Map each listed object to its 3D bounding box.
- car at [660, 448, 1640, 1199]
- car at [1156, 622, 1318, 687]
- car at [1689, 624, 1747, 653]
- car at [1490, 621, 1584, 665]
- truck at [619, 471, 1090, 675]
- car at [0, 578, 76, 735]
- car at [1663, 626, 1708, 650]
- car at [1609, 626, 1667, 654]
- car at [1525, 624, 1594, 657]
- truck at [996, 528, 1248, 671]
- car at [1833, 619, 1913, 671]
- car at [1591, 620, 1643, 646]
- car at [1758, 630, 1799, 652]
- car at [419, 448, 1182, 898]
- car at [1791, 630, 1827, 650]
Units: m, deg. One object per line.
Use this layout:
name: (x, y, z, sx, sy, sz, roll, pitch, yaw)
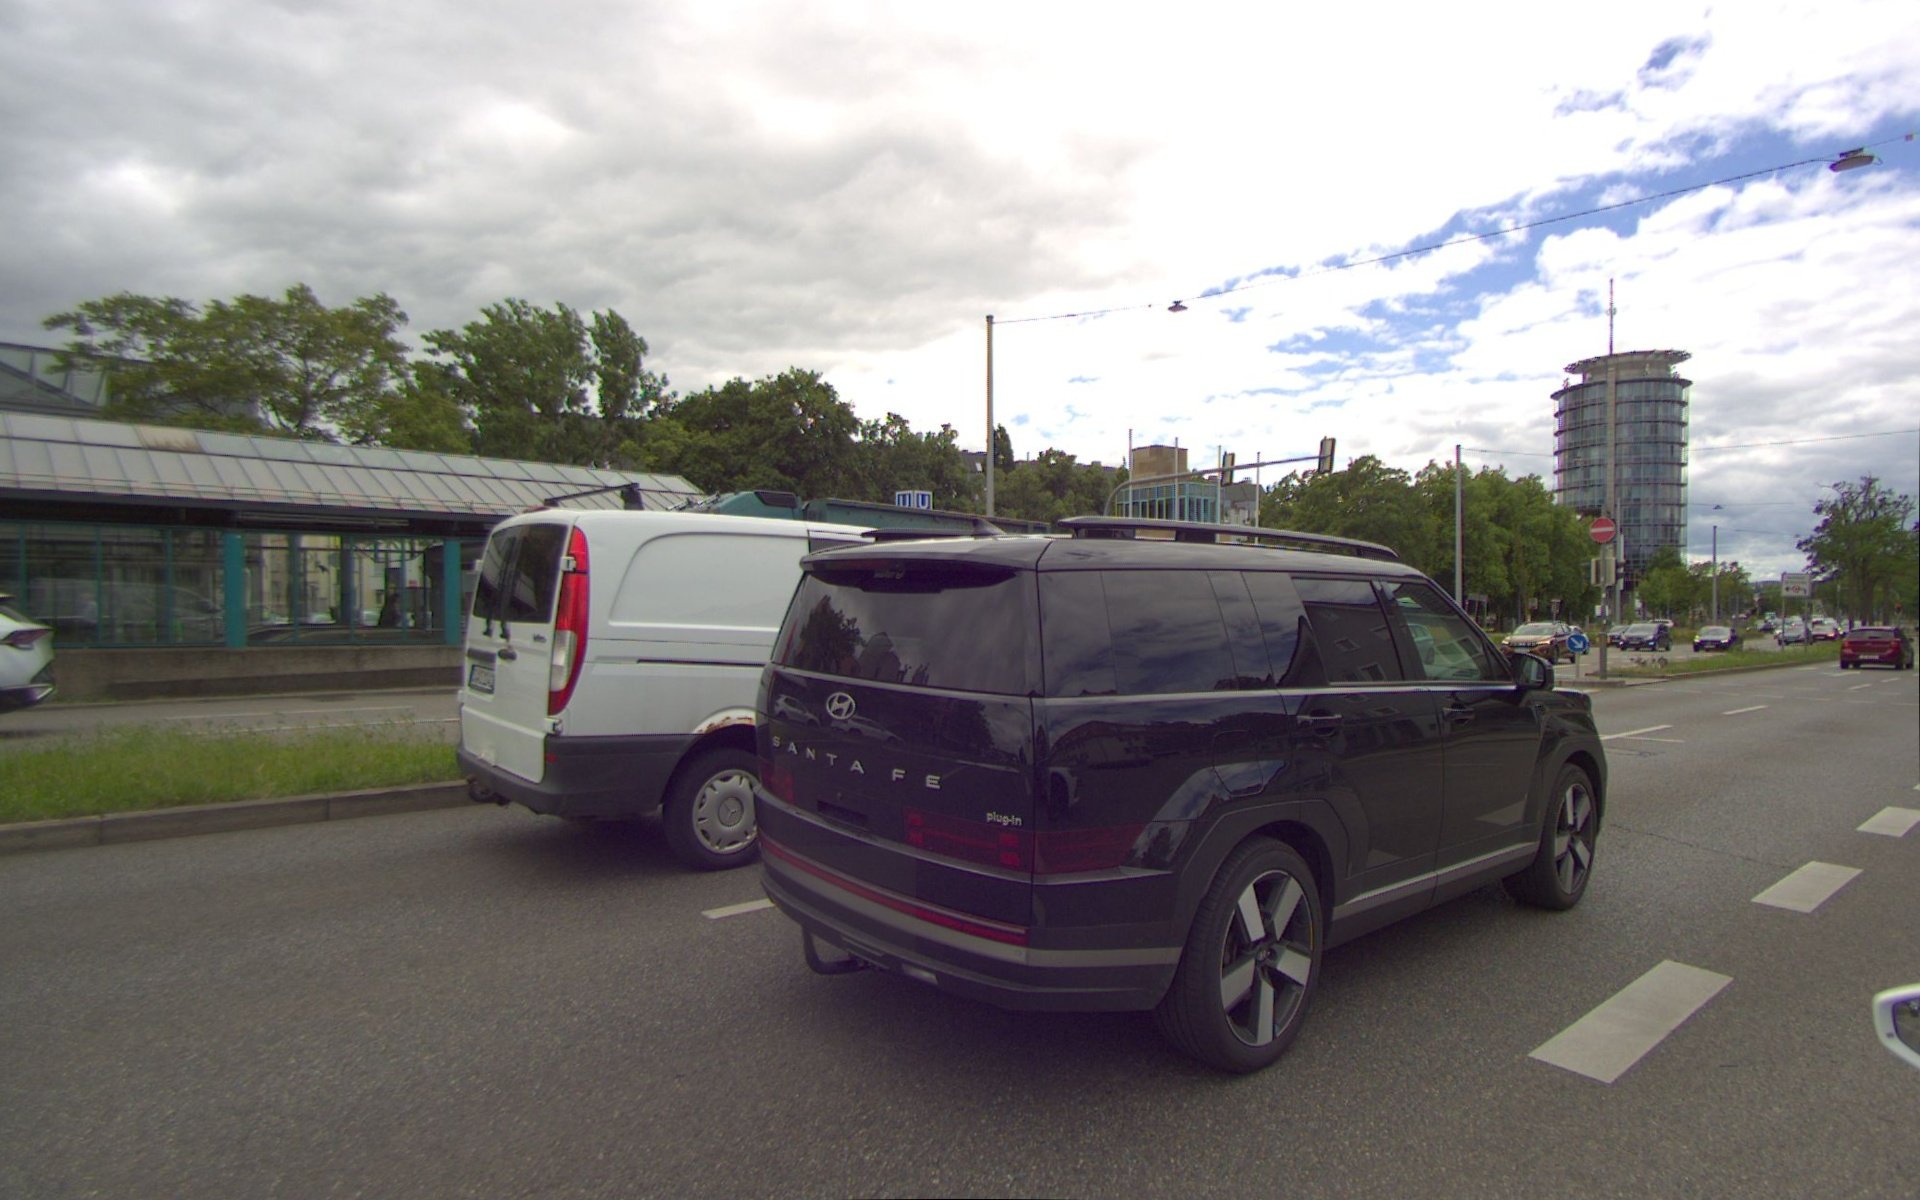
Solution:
car: (1.248, 0.567, 4.585, 4.641, 1.775, 1.906, 2, 0, -41)
car: (6.588, 1.218, 23.588, 1.970, 1.350, 4.423, 0, -1, 40)
car: (43.662, 2.216, 57.833, 3.971, 1.595, 1.975, 2, -1, -43)
car: (21.476, 1.579, 37.334, 3.972, 1.536, 1.974, 2, -1, -43)
truck: (-1.871, -0.364, 23.601, 11.201, 3.777, 3.336, 2, 0, -43)
car: (-11.888, 0.540, 9.454, 1.748, 1.606, 5.236, -1, -2, 44)
car: (51.936, 2.700, 71.909, 3.973, 1.595, 1.974, 2, -1, -44)
car: (39.855, 2.339, 59.010, 3.971, 1.595, 1.975, 2, -1, -43)
car: (30.018, 2.019, 50.230, 1.973, 1.527, 4.464, 1, -1, 45)
truck: (5.111, 0.107, 30.541, 7.968, 3.776, 3.337, 2, -2, -42)
car: (32.953, 1.590, 36.237, 3.970, 1.746, 1.731, 2, -1, -42)
car: (42.879, 2.157, 65.520, 3.971, 1.595, 1.975, 2, -1, -43)
car: (63.131, 3.136, 77.465, 3.973, 1.595, 1.974, 2, -1, -44)
car: (-0.721, 0.335, 6.951, 5.039, 2.040, 1.856, 0, 1, -43)
car: (73.597, 3.463, 87.018, 3.973, 1.595, 1.974, 2, -1, -44)
